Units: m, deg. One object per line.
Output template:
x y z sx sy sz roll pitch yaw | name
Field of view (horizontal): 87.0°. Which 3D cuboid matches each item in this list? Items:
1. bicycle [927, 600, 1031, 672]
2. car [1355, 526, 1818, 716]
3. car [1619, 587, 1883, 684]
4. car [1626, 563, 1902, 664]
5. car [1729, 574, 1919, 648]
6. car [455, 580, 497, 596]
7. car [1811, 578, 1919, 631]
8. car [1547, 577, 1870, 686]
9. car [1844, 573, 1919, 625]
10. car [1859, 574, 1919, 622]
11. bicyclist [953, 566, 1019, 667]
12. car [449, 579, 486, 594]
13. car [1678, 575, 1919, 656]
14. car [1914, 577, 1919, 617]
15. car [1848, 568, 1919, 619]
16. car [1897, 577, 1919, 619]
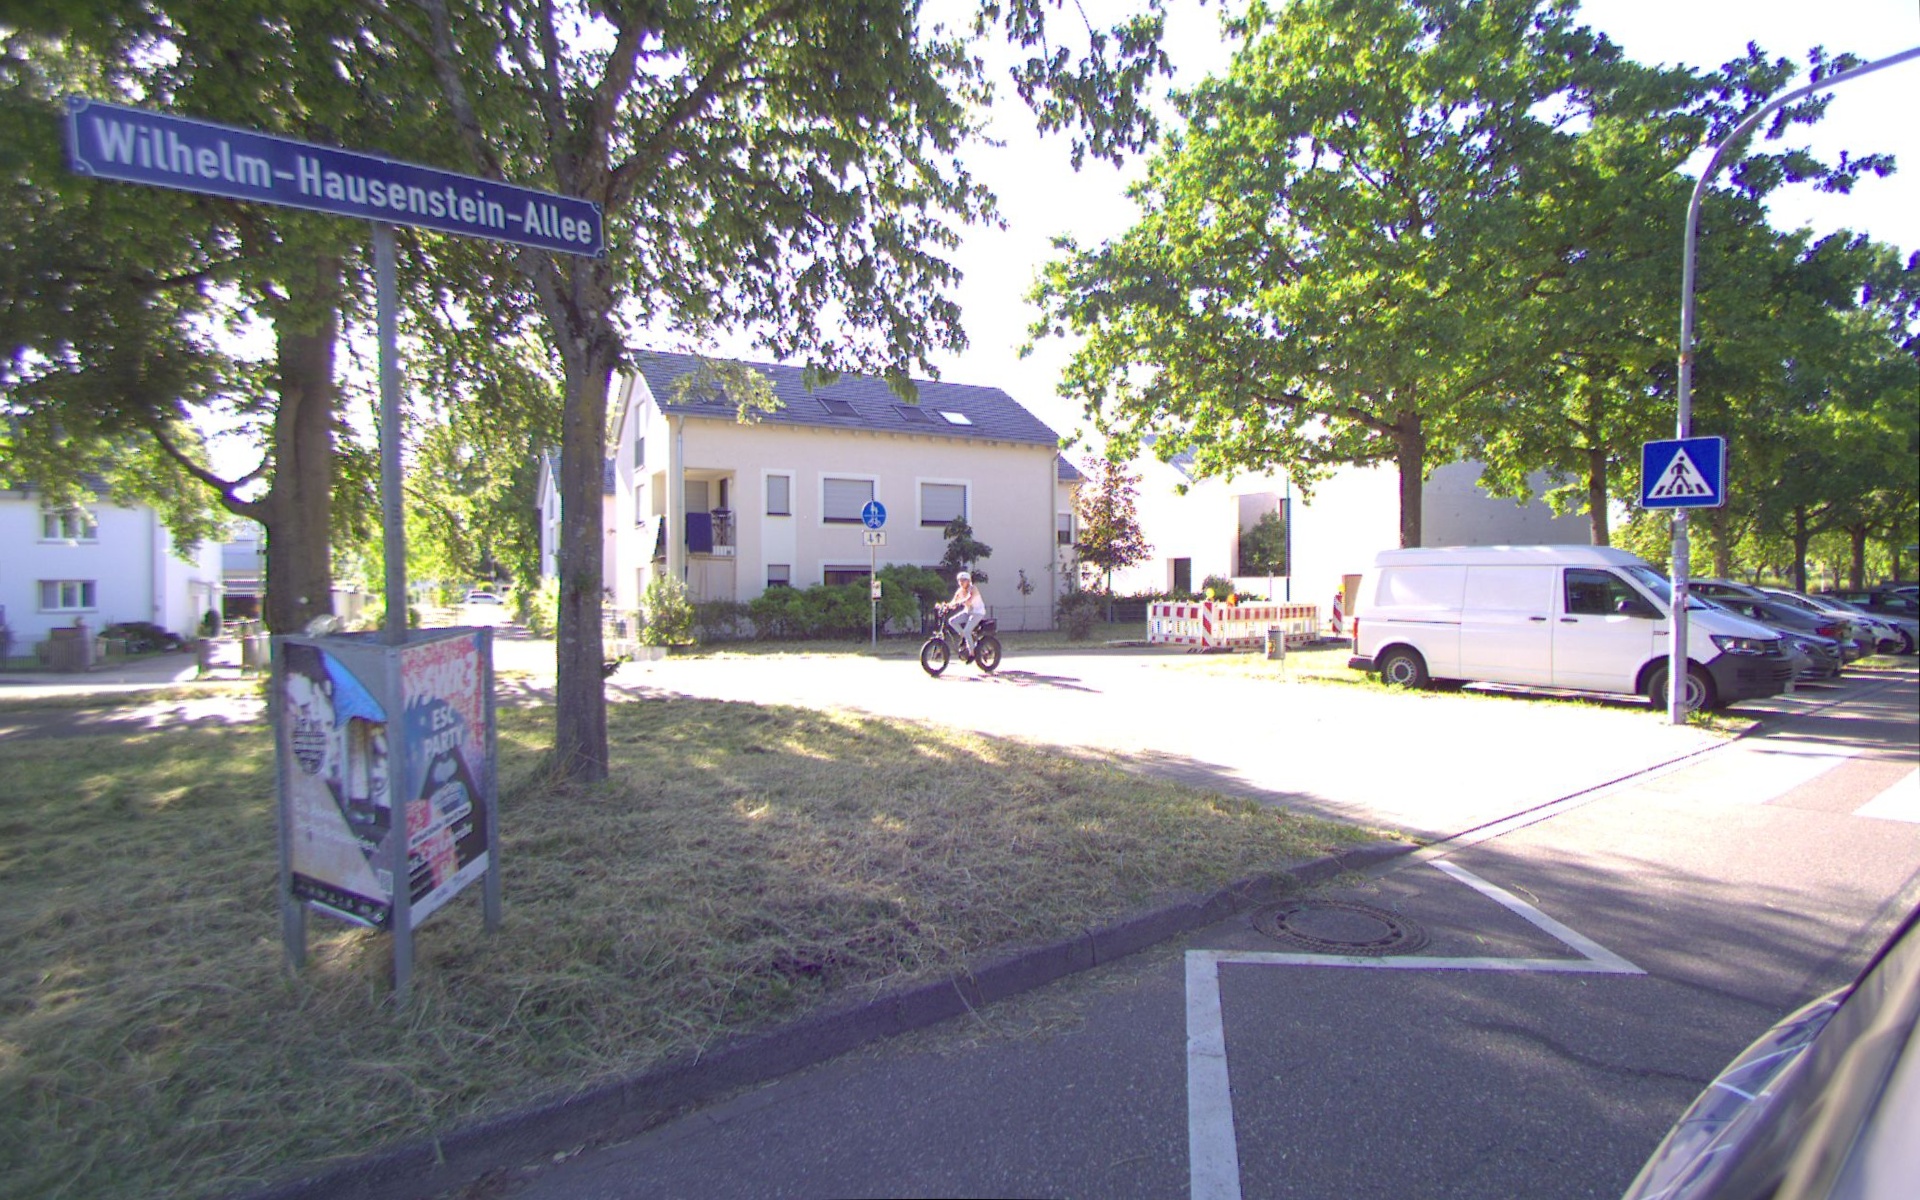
0.347 0.585 17.403 1.798 1.165 0.677 -1 0 -41 | bicycle
8.220 0.181 13.779 1.857 2.107 5.044 -1 1 -39 | car
14.200 0.580 18.323 1.421 1.561 3.517 -1 0 -37 | car
15.901 0.237 20.207 1.681 1.816 4.020 -1 0 -37 | car
21.647 0.247 24.960 1.504 1.681 4.020 -1 0 -37 | car
-62.327 -1.499 130.433 4.543 2.039 1.995 -1 0 -43 | car
30.602 0.140 32.801 1.504 1.662 4.396 -1 0 -37 | car
12.280 0.457 16.831 1.725 1.583 3.997 -1 0 -37 | car
33.120 -0.040 34.418 1.504 1.765 4.396 -1 0 -37 | car
36.072 -0.098 37.131 1.504 1.765 4.396 -1 0 -37 | car
0.446 0.276 17.422 0.834 1.687 0.726 -1 -1 -40 | bicyclist
-68.358 -1.935 140.623 4.525 2.039 2.003 -1 0 -24 | car
19.187 0.321 23.323 1.504 1.700 4.020 -1 0 -37 | car
43.529 -0.139 42.849 1.504 1.765 4.396 -1 0 -37 | car
38.074 -0.259 39.891 1.504 2.013 4.396 0 0 -37 | car
41.601 -0.100 41.530 1.504 1.765 4.396 -1 0 -37 | car
